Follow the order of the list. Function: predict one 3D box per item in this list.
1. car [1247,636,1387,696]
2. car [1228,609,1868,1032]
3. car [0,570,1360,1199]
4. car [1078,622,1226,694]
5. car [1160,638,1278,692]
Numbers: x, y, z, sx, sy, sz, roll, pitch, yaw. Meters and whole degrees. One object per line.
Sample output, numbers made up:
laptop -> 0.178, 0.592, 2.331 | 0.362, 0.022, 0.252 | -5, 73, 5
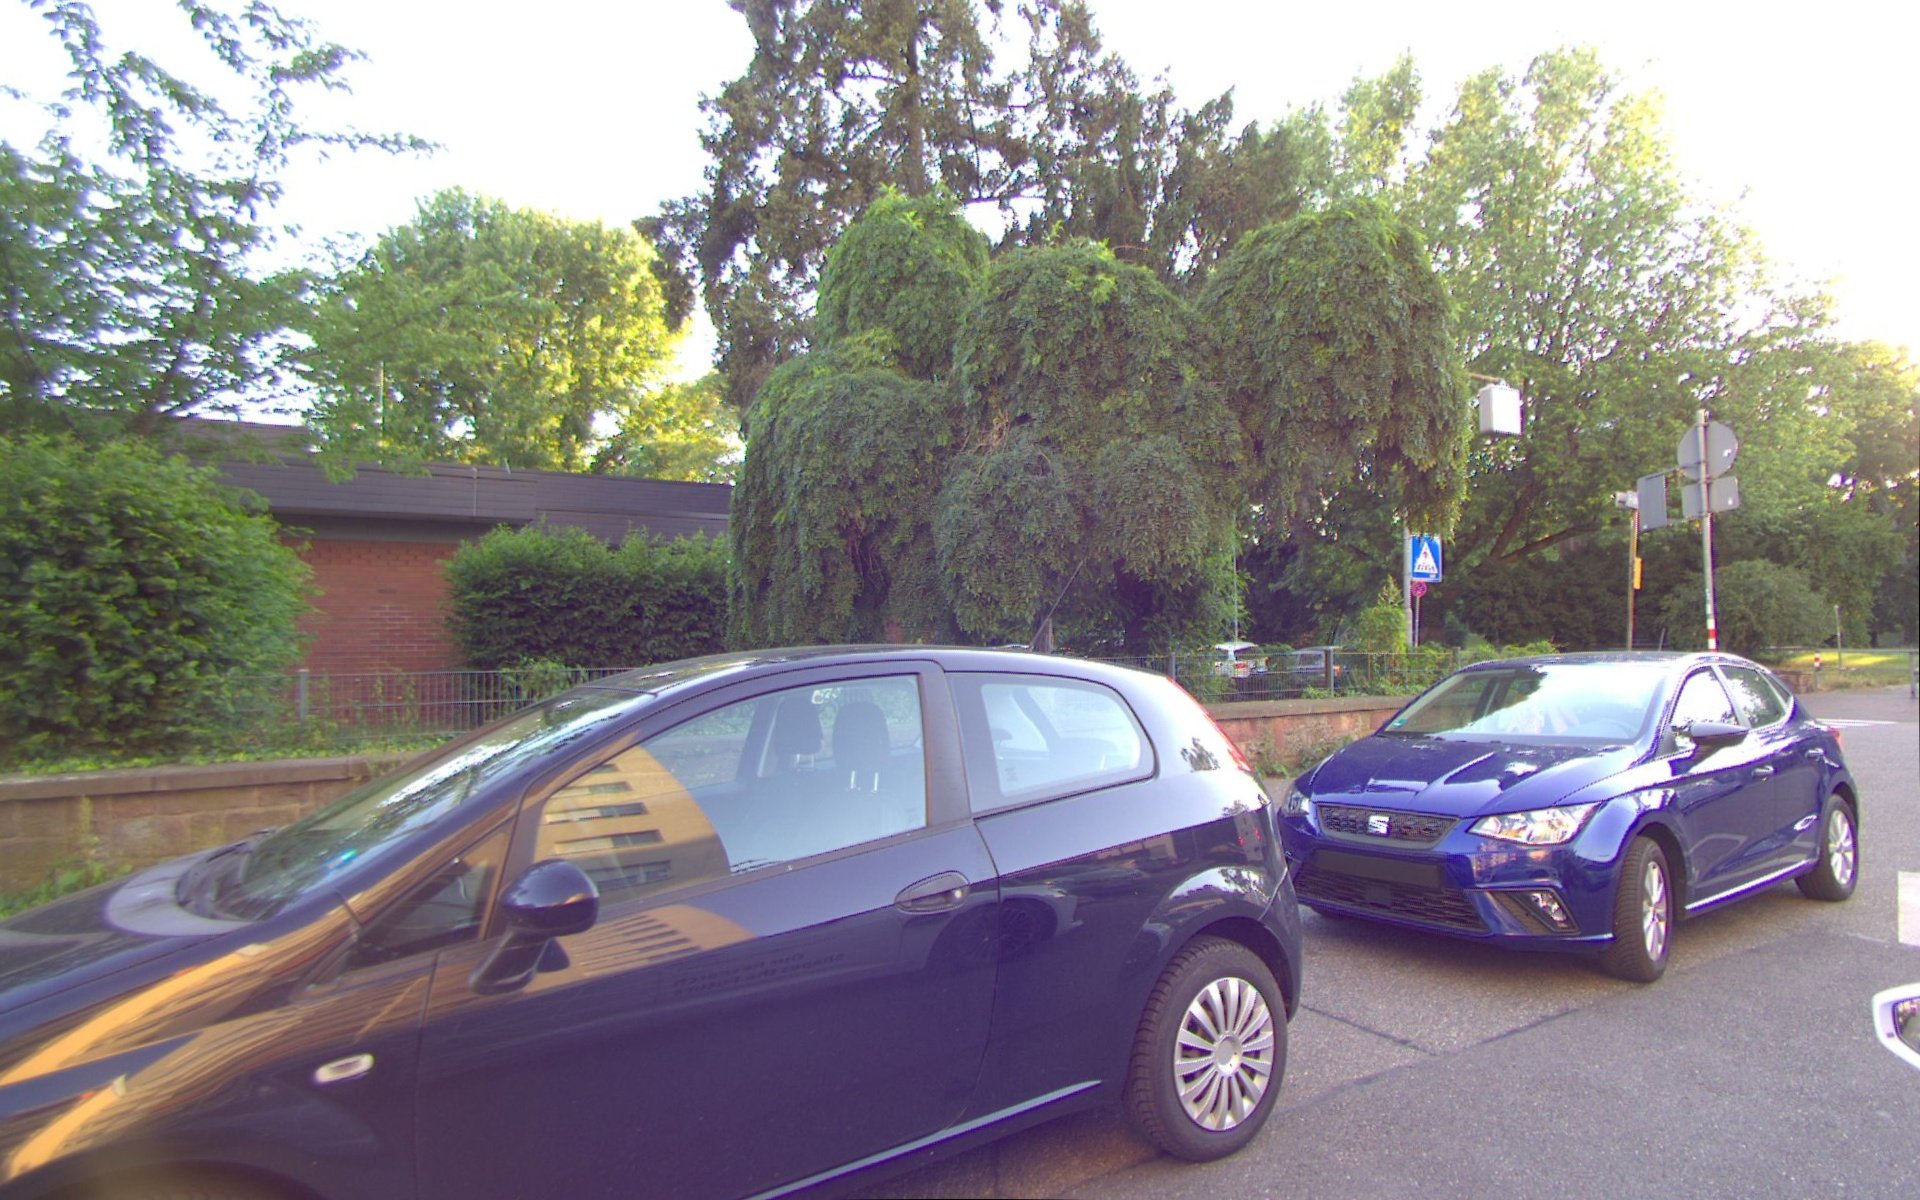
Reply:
car -> 10.944, 2.009, 31.058 | 1.798, 1.511, 3.843 | -6, 0, -24
car -> 3.424, 0.913, 5.633 | 3.755, 1.587, 1.722 | 1, -4, -37
car -> -0.743, 0.823, 2.874 | 3.659, 1.587, 1.723 | 1, -4, -34
car -> 5.296, 1.672, 28.223 | 1.801, 1.821, 4.212 | 4, -5, -28
car -> 9.063, 2.269, 35.430 | 1.800, 1.583, 3.856 | -6, 0, -27
